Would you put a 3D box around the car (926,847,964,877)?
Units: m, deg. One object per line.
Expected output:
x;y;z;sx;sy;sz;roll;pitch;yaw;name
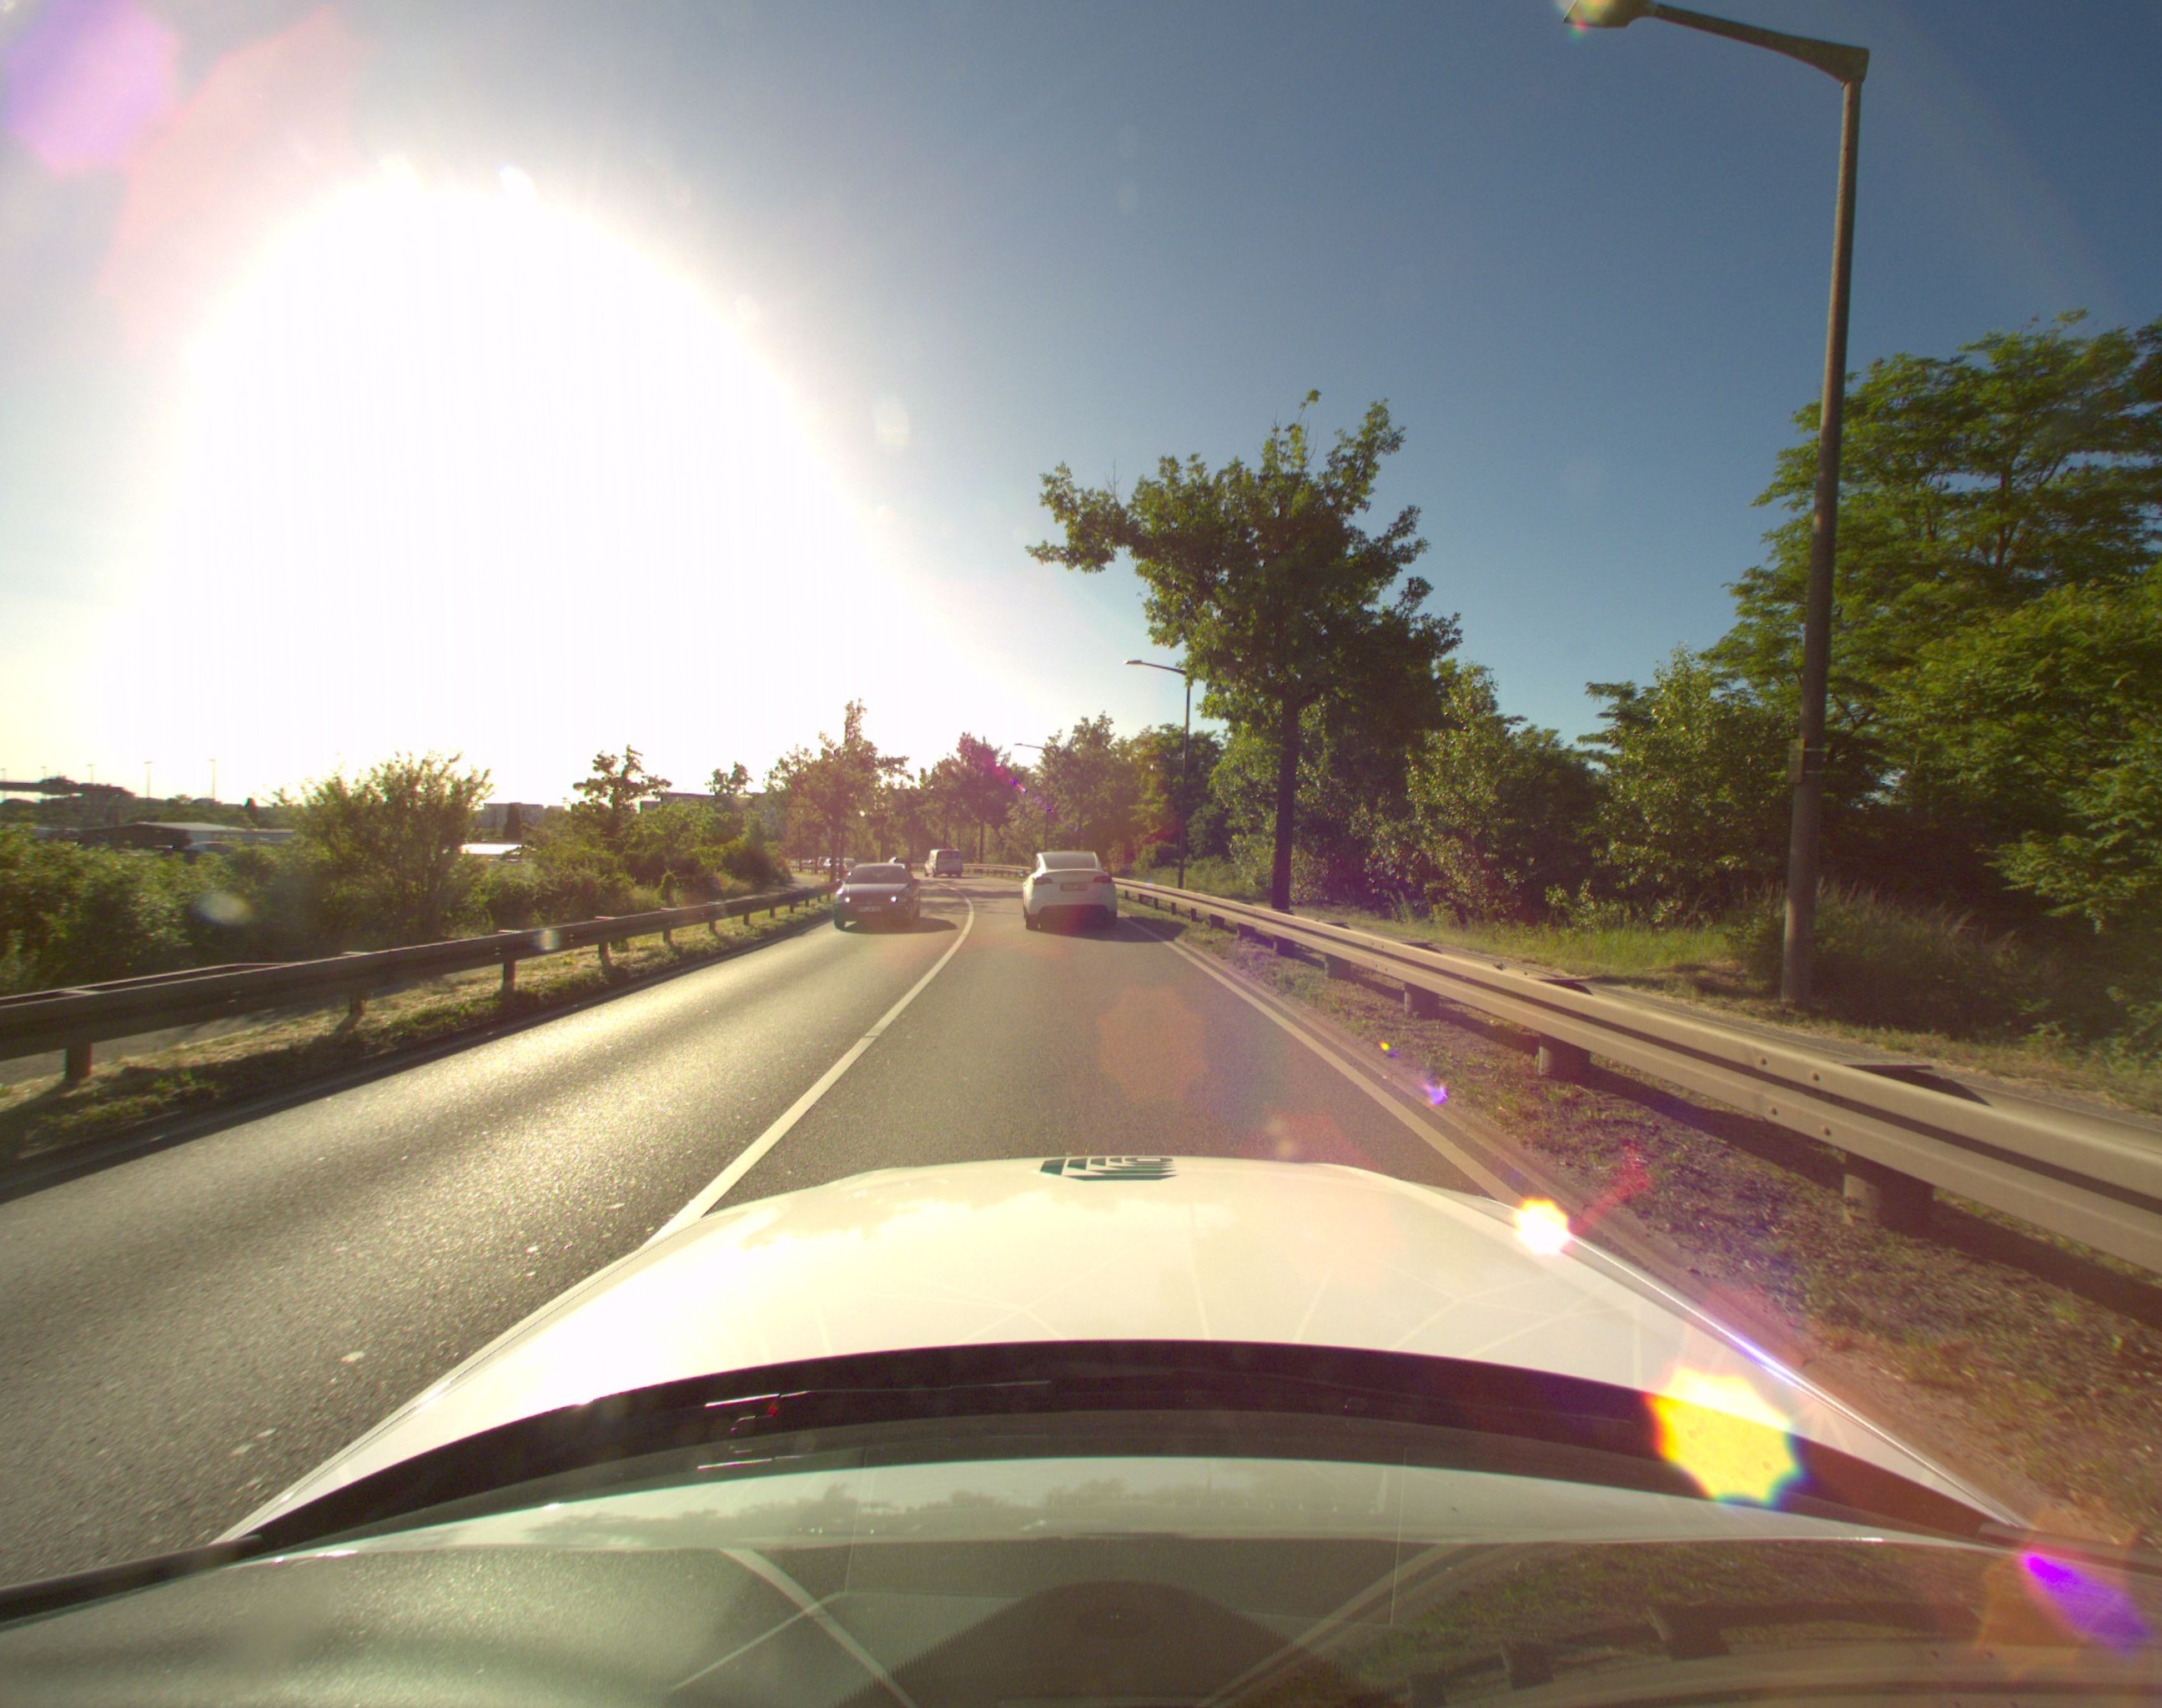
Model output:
-9.391;0.498;55.966;2.010;1.940;4.442;-1;0;-17;car

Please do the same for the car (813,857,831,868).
-35.543;1.158;111.815;1.845;1.555;3.860;-1;0;-26;car

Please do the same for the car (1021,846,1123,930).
-0.314;0.666;18.109;1.982;1.638;4.055;0;0;-5;car

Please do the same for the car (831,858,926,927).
-4.770;0.835;19.629;1.791;1.431;3.816;-1;0;-8;car

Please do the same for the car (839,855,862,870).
-25.984;0.912;91.719;1.868;1.585;3.882;-1;0;-25;car
